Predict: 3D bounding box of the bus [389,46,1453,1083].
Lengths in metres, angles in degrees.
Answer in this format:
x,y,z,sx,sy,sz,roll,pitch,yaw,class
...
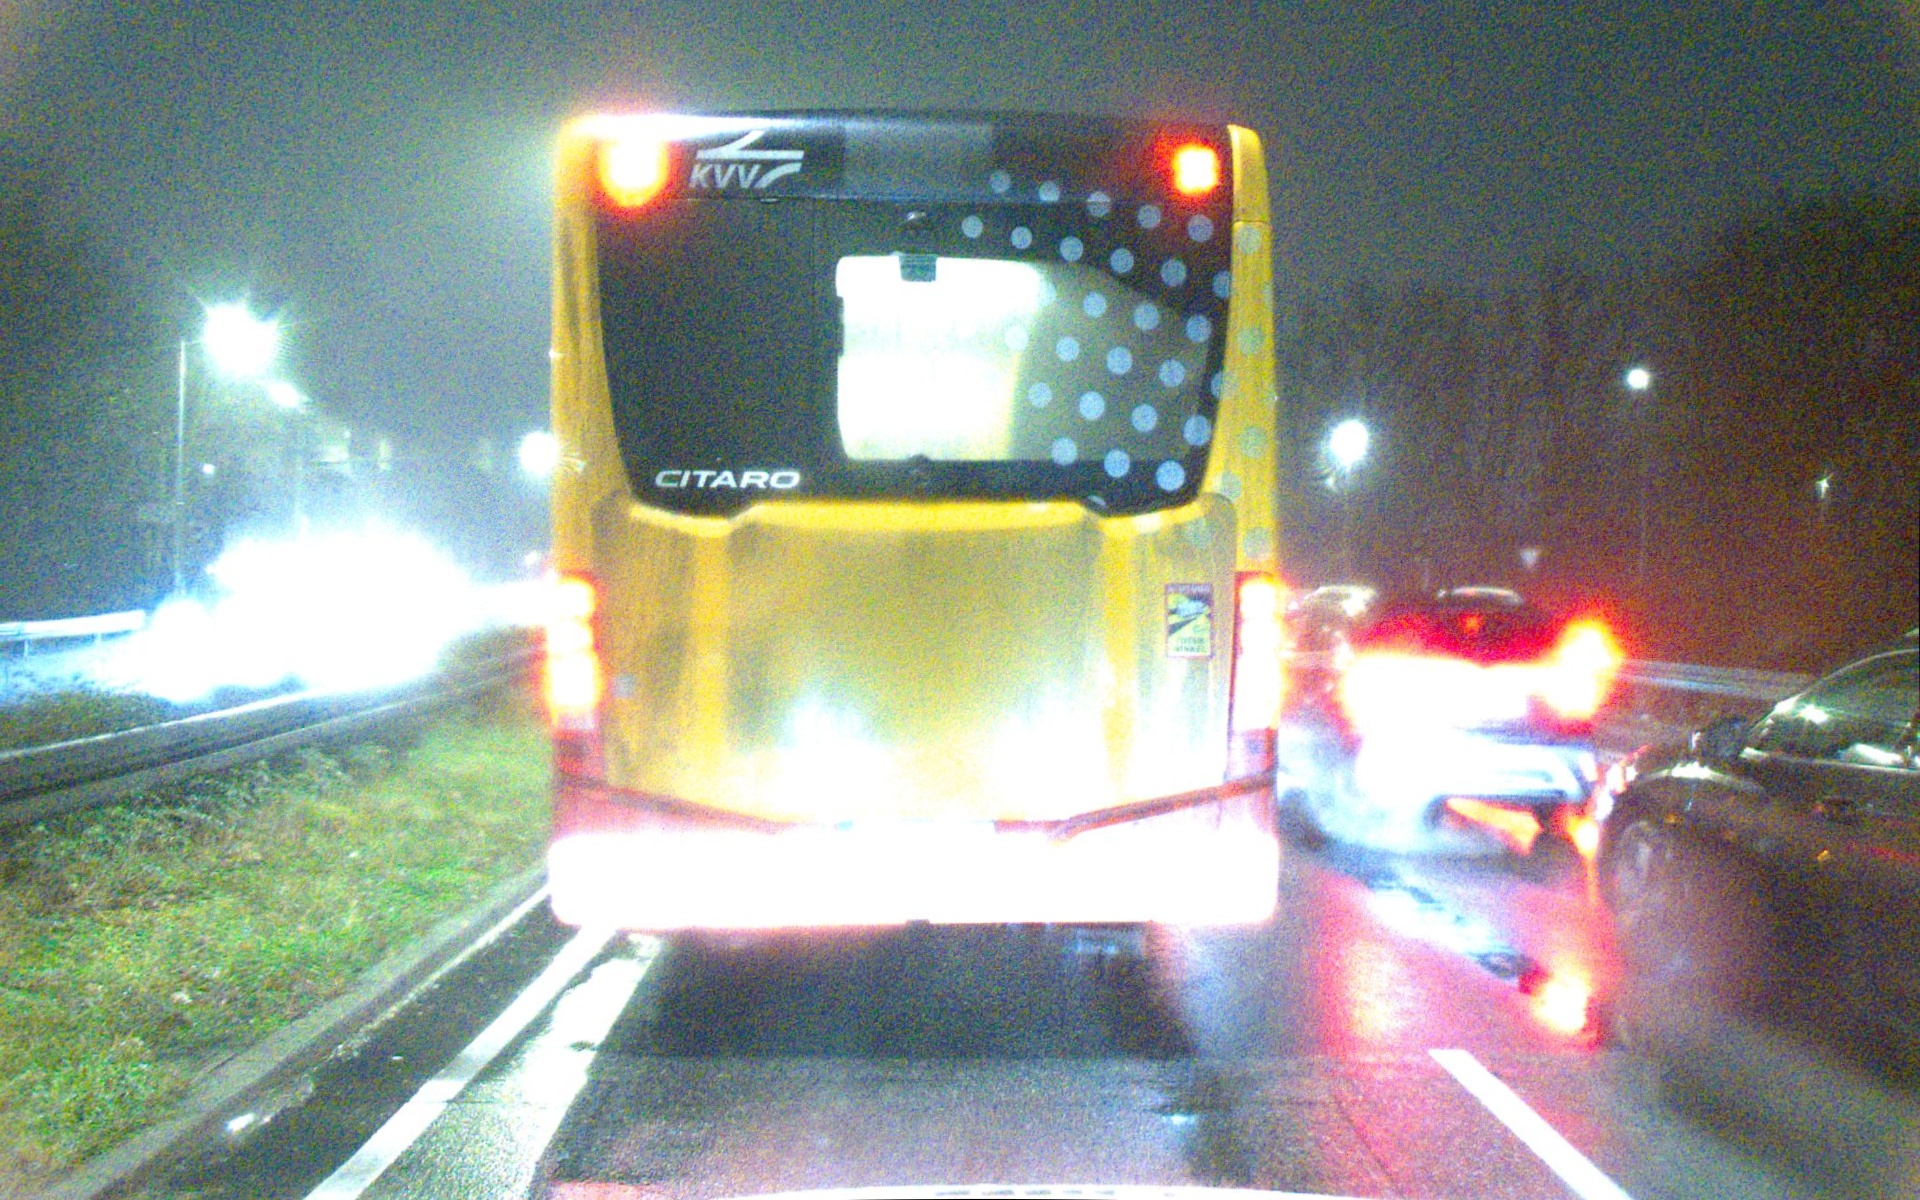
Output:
x,y,z,sx,sy,sz,roll,pitch,yaw,class
-0.285,-0.235,9.799,3.219,3.103,9.540,0,2,-2,bus

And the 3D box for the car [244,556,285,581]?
x,y,z,sx,sy,sz,roll,pitch,yaw,class
-44.499,-1.994,105.837,1.725,1.528,3.954,1,0,-33,car

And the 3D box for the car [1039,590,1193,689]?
x,y,z,sx,sy,sz,roll,pitch,yaw,class
2.448,0.607,26.955,1.953,1.466,3.998,1,0,-3,car

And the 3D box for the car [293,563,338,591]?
x,y,z,sx,sy,sz,roll,pitch,yaw,class
-36.020,-1.283,92.426,1.780,1.508,3.777,1,0,-30,car

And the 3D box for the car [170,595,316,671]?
x,y,z,sx,sy,sz,roll,pitch,yaw,class
-14.694,0.646,34.141,1.680,1.448,4.657,0,0,-9,car

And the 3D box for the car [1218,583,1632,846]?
x,y,z,sx,sy,sz,roll,pitch,yaw,class
3.094,0.692,11.852,1.644,1.548,3.957,1,0,-3,car

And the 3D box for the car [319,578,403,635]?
x,y,z,sx,sy,sz,roll,pitch,yaw,class
-17.822,0.204,49.365,1.837,1.636,4.234,0,-1,-13,car

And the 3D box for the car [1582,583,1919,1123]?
x,y,z,sx,sy,sz,roll,pitch,yaw,class
3.569,0.754,4.895,1.639,1.532,4.558,2,0,-1,car

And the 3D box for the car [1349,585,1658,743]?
x,y,z,sx,sy,sz,roll,pitch,yaw,class
6.017,0.656,18.923,1.953,1.506,4.337,3,0,-2,car

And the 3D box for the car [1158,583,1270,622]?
x,y,z,sx,sy,sz,roll,pitch,yaw,class
9.934,0.101,64.841,3.967,1.369,1.744,1,2,-9,car

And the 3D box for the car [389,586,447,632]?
x,y,z,sx,sy,sz,roll,pitch,yaw,class
-20.493,0.319,62.648,1.735,1.659,4.236,0,1,-13,car

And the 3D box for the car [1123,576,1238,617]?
x,y,z,sx,sy,sz,roll,pitch,yaw,class
9.150,-0.142,68.833,4.399,1.545,1.854,1,2,-9,car

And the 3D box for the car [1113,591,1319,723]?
x,y,z,sx,sy,sz,roll,pitch,yaw,class
2.849,0.590,19.183,1.652,1.353,3.959,0,0,-2,car
